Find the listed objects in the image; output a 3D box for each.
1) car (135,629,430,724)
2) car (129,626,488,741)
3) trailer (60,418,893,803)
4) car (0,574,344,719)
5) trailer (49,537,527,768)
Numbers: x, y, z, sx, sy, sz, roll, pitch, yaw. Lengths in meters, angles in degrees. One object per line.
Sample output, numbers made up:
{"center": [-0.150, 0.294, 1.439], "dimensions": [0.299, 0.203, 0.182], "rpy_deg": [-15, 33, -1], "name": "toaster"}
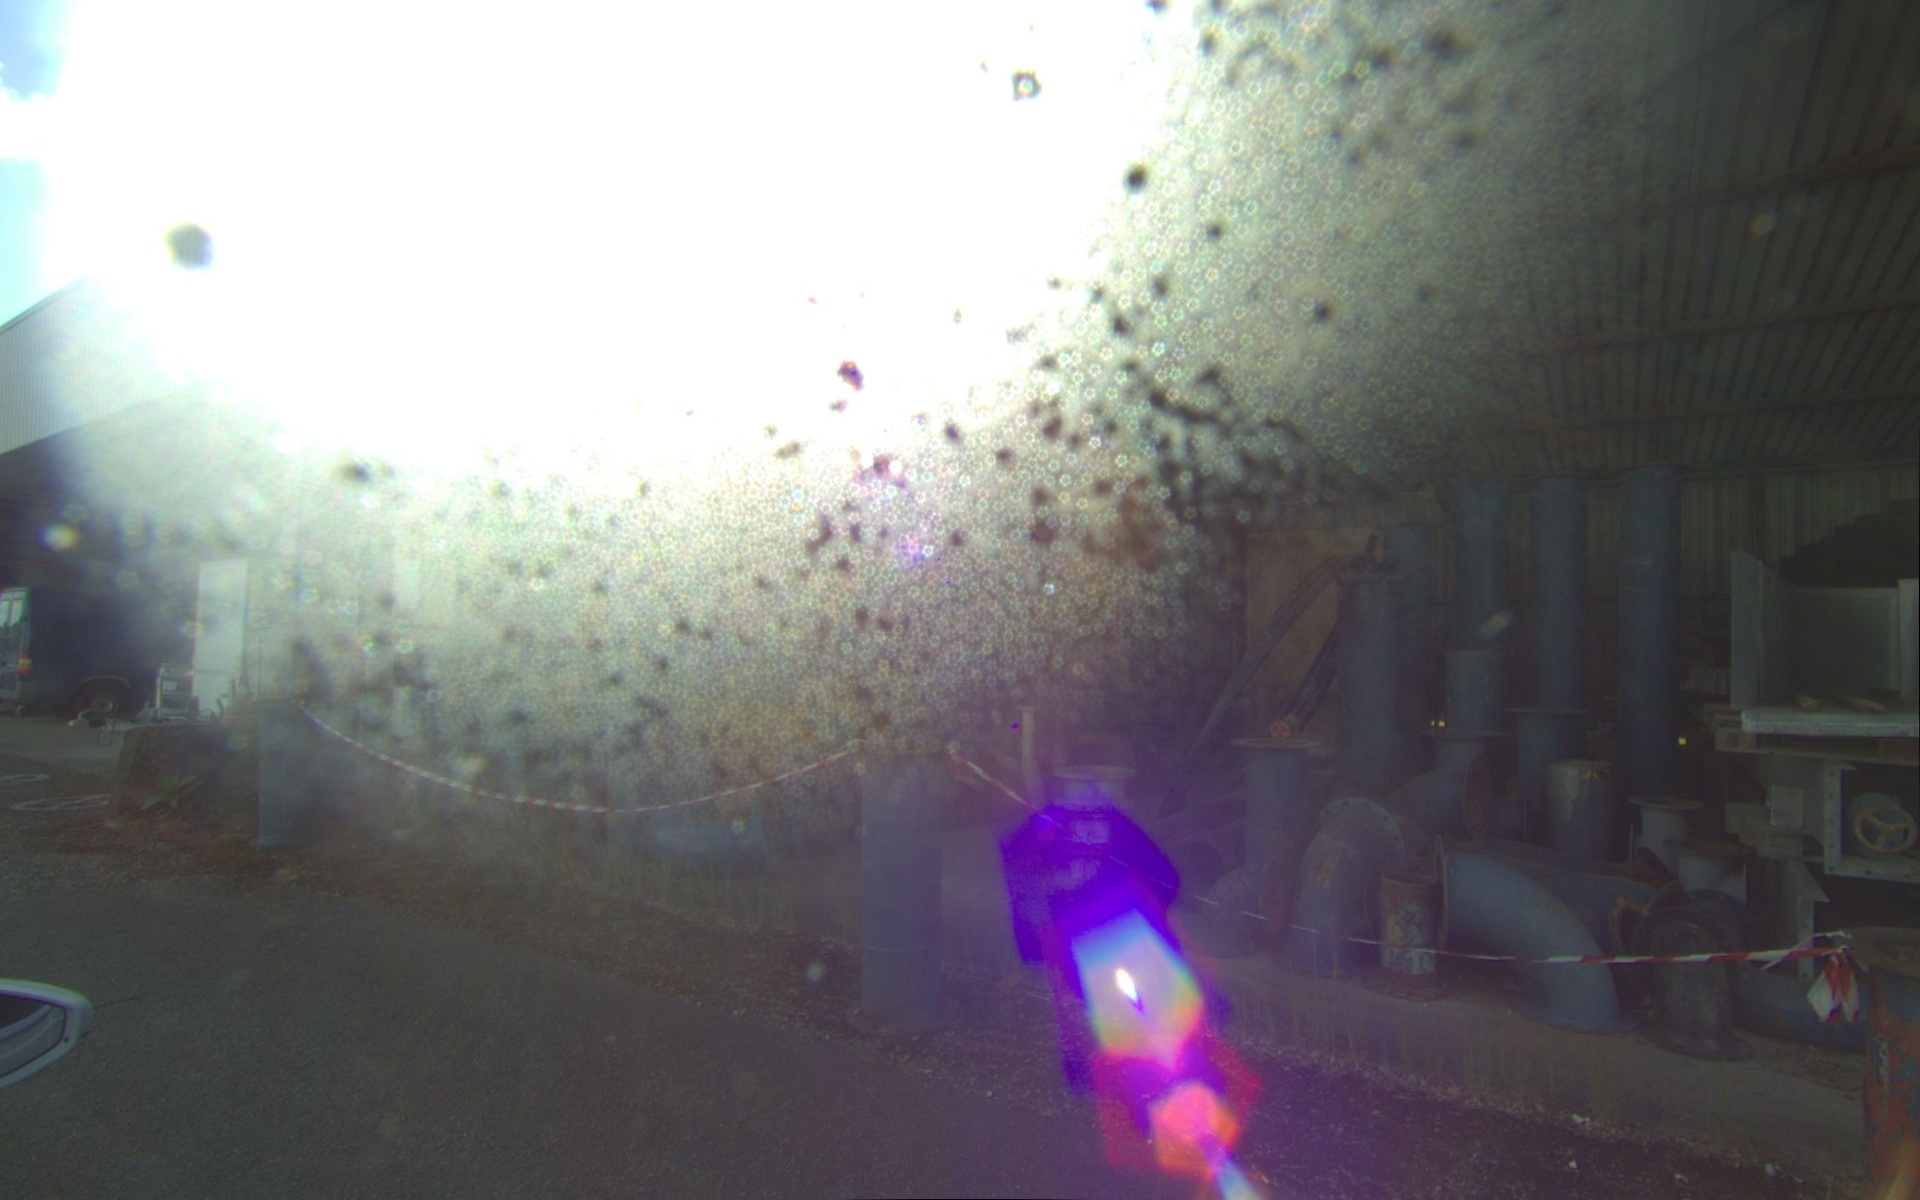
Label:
{"center": [-11.924, 1.301, 17.910], "dimensions": [1.761, 1.491, 3.985], "rpy_deg": [-1, -3, 29], "name": "car"}
{"center": [-9.826, 1.208, 15.491], "dimensions": [1.751, 1.514, 4.324], "rpy_deg": [-1, -3, 31], "name": "car"}
{"center": [-5.061, 0.320, 13.428], "dimensions": [2.814, 3.256, 10.018], "rpy_deg": [-1, -3, 34], "name": "trailer"}
{"center": [-14.774, 0.900, 18.903], "dimensions": [1.973, 2.354, 4.969], "rpy_deg": [-1, -3, 34], "name": "car"}
{"center": [-8.378, 0.671, 12.961], "dimensions": [1.804, 2.421, 4.796], "rpy_deg": [-1, -3, 38], "name": "trailer"}
